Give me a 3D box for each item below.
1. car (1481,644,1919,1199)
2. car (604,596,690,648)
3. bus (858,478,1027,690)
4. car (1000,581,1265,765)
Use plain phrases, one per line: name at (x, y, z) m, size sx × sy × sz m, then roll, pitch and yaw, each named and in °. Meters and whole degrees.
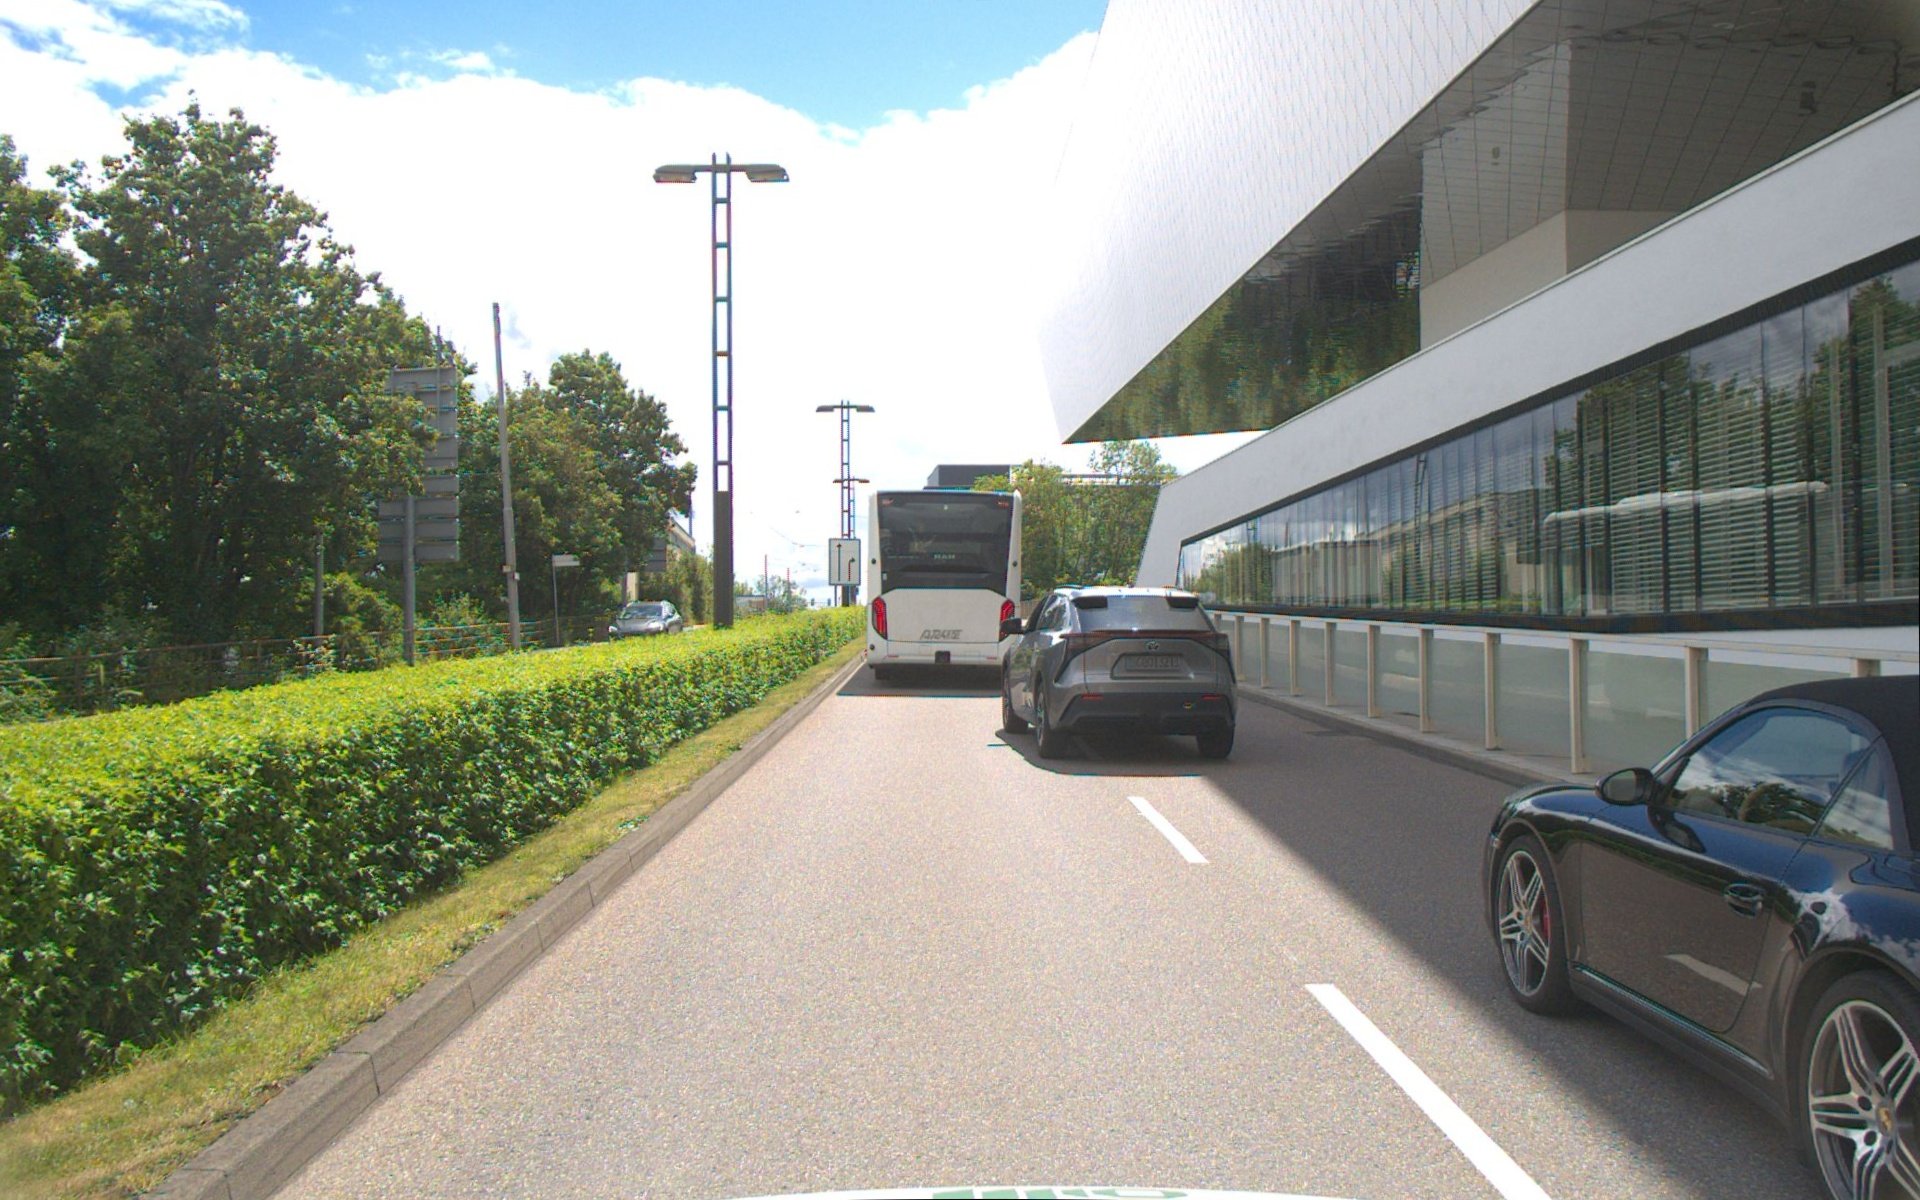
car at (3.029, 0.823, 4.773) m, size 1.685 × 1.297 × 4.086 m, roll 0°, pitch 0°, yaw -1°
car at (-9.821, 0.656, 52.179) m, size 1.802 × 1.534 × 4.561 m, roll -1°, pitch 0°, yaw 0°
bus at (-0.362, -0.347, 32.213) m, size 2.634 × 3.312 × 12.056 m, roll 1°, pitch 1°, yaw -1°
car at (1.591, 0.663, 16.768) m, size 1.843 × 1.622 × 4.224 m, roll 1°, pitch 0°, yaw -6°
